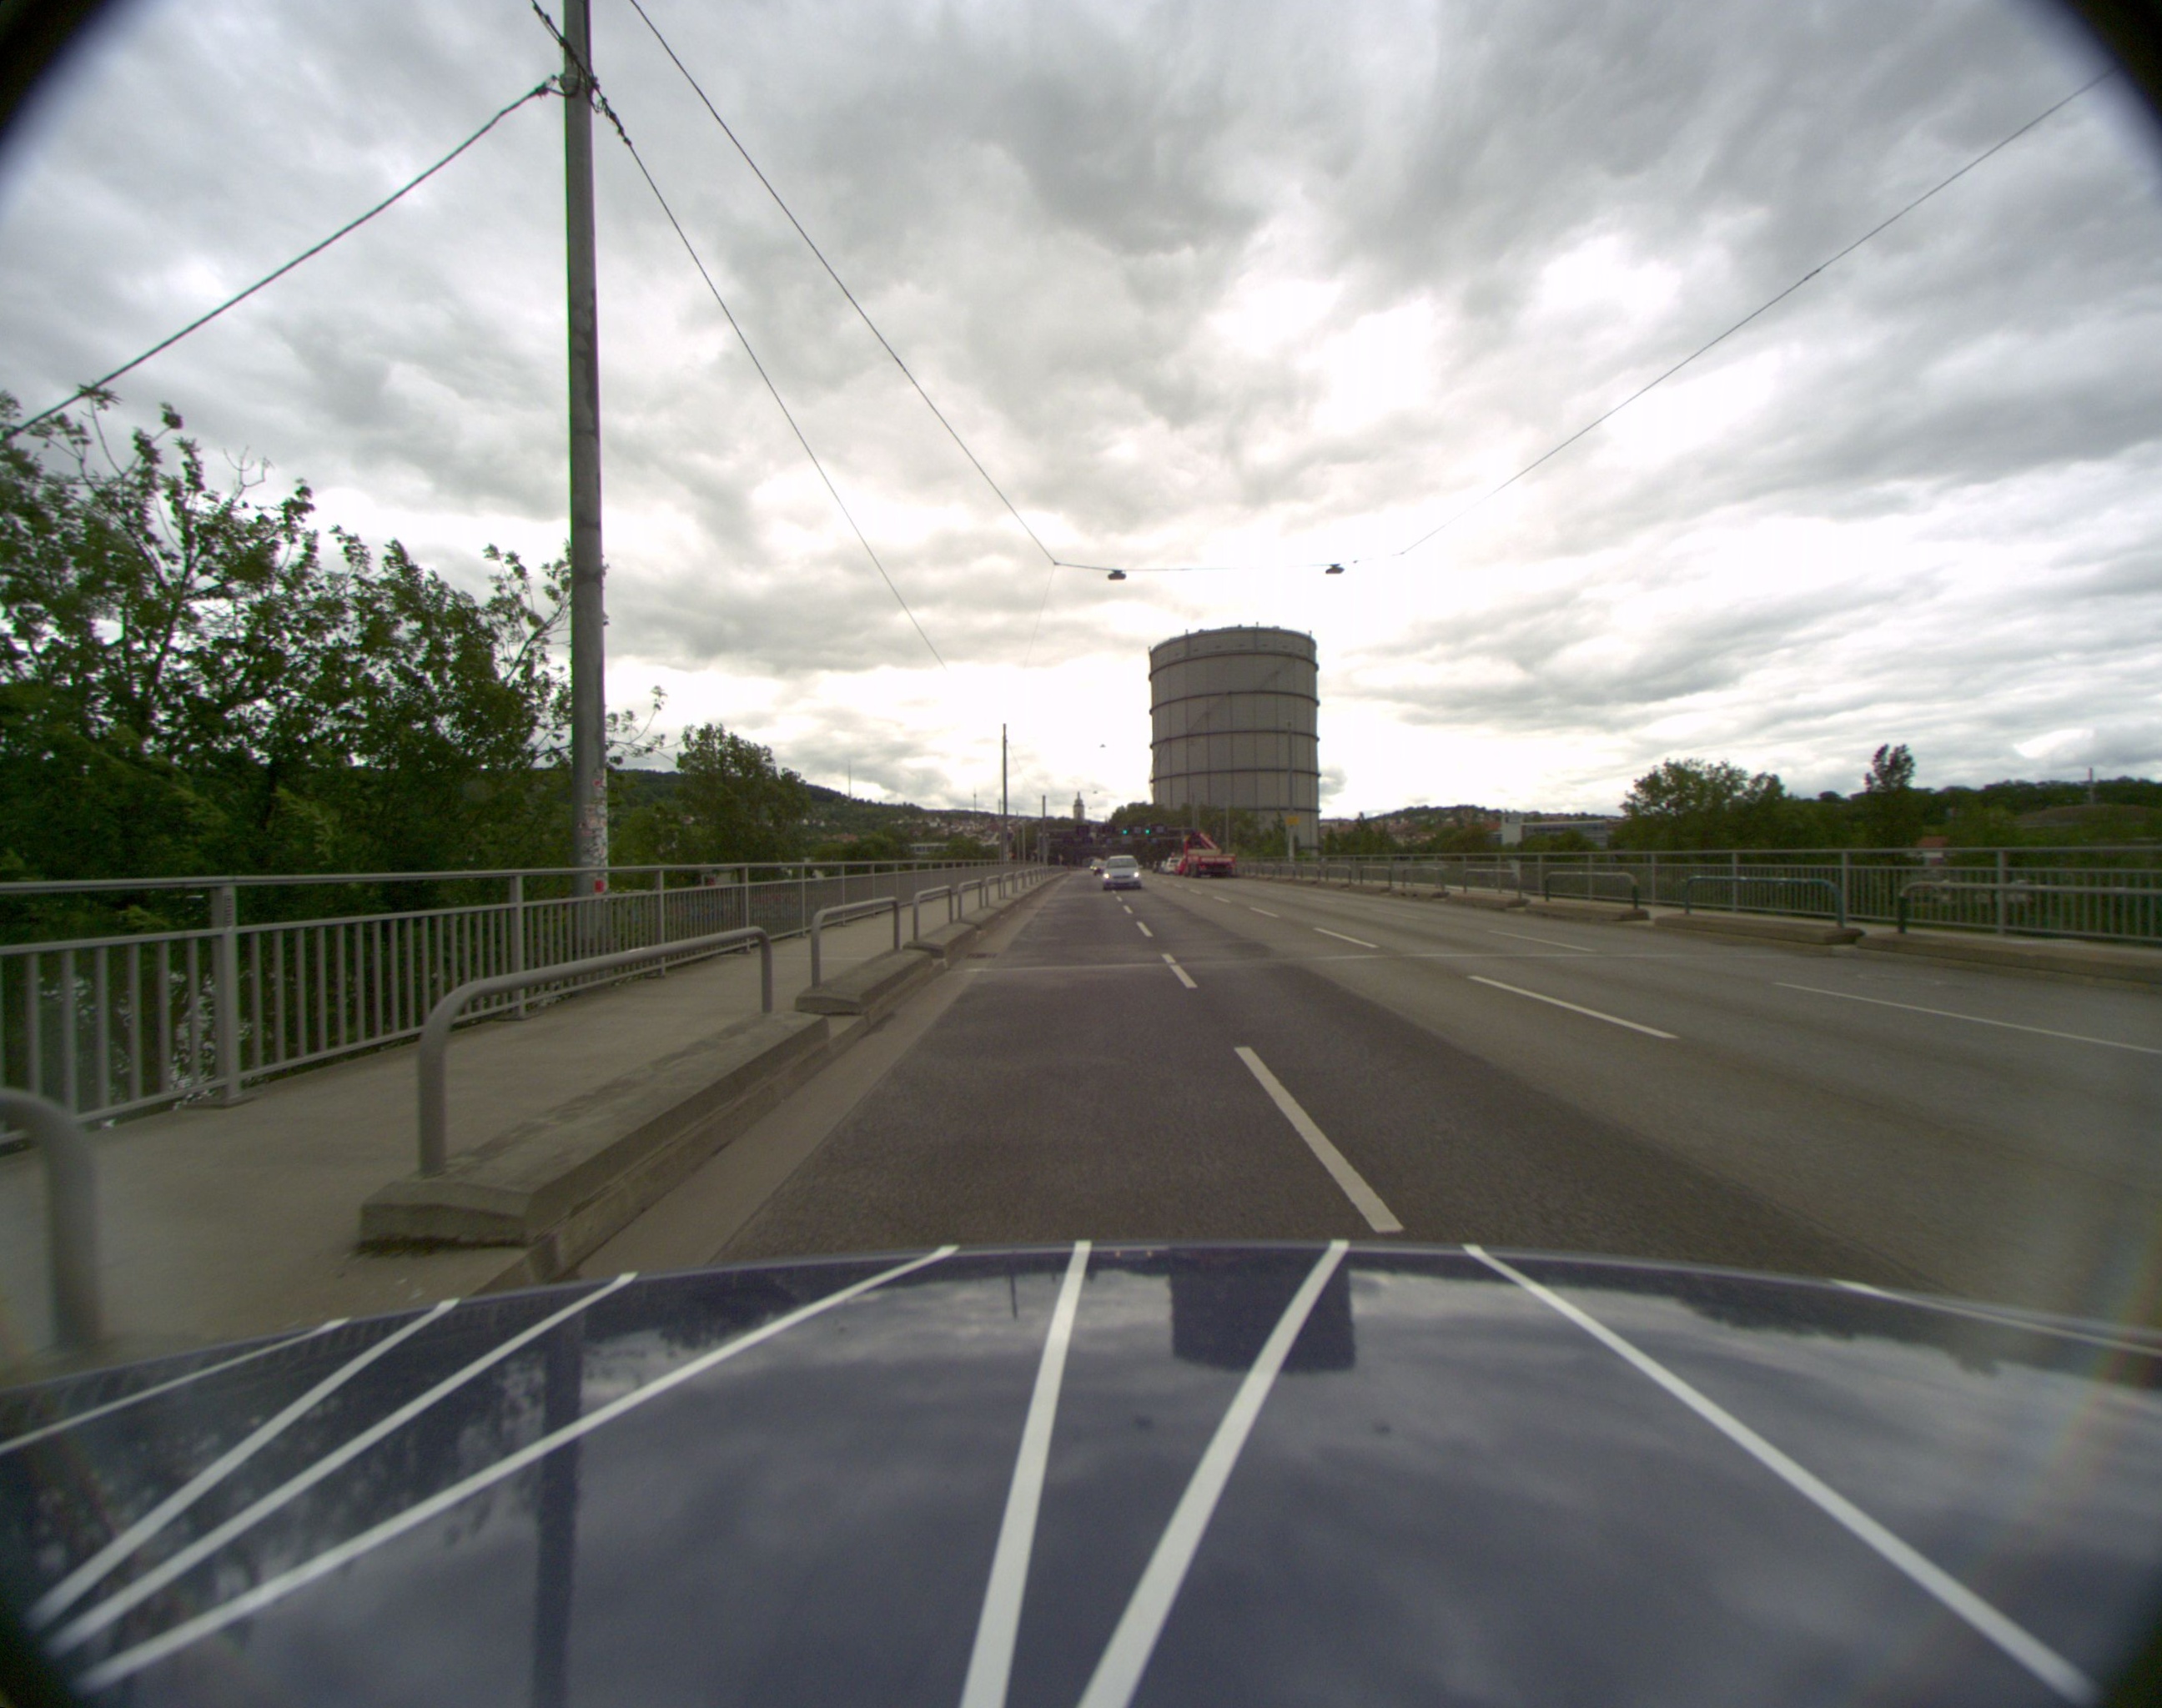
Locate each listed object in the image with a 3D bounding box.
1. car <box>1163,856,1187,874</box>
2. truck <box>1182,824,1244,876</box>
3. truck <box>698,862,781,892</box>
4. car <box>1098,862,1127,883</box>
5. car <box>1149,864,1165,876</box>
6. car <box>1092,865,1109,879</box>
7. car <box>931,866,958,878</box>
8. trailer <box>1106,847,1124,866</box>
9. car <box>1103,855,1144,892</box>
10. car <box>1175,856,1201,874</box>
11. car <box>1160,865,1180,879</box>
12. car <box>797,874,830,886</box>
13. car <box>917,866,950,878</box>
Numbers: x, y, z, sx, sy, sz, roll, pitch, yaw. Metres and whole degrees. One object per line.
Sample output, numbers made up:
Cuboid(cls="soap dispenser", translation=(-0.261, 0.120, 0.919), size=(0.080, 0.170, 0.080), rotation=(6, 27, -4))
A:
Cuboid(cls="car", translation=(9.501, 1.111, 77.124), size=(1.884, 1.750, 4.803), rotation=(0, -1, 0))
Cuboid(cls="truck", translation=(9.740, -0.233, 57.402), size=(3.013, 3.544, 9.983), rotation=(0, -1, 0))
Cuboid(cls="truck", translation=(-49.318, 3.321, 110.011), size=(10.423, 3.856, 3.226), rotation=(-2, 0, -3))
Cuboid(cls="car", translation=(2.153, 1.297, 53.395), size=(1.747, 1.454, 3.955), rotation=(0, -1, -2))
Cuboid(cls="car", translation=(9.689, 2.054, 96.592), size=(1.839, 1.495, 3.872), rotation=(0, -1, 3))
Cuboid(cls="car", translation=(2.085, 1.911, 81.036), size=(1.696, 1.411, 4.469), rotation=(-1, -1, 1))
Cuboid(cls="car", translation=(-19.863, 2.554, 110.552), size=(3.621, 1.531, 1.695), rotation=(-3, 0, -1))
Cuboid(cls="trailer", translation=(8.195, 0.760, 184.491), size=(3.669, 4.295, 13.783), rotation=(2, -1, 0))
Cuboid(cls="car", translation=(2.009, 0.915, 36.481), size=(1.747, 1.594, 3.683), rotation=(-2, -1, 1))
Cuboid(cls="car", translation=(9.750, 0.991, 69.383), size=(1.884, 1.593, 4.016), rotation=(0, -1, 0))
Cuboid(cls="car", translation=(9.926, 2.028, 84.980), size=(1.840, 1.495, 4.517), rotation=(0, -1, 0))
Cuboid(cls="car", translation=(-38.714, 3.763, 110.101), size=(4.045, 1.531, 1.695), rotation=(-3, 0, -1))
Cuboid(cls="car", translation=(-22.026, 2.690, 113.603), size=(4.339, 1.610, 2.000), rotation=(-3, 1, 0))
